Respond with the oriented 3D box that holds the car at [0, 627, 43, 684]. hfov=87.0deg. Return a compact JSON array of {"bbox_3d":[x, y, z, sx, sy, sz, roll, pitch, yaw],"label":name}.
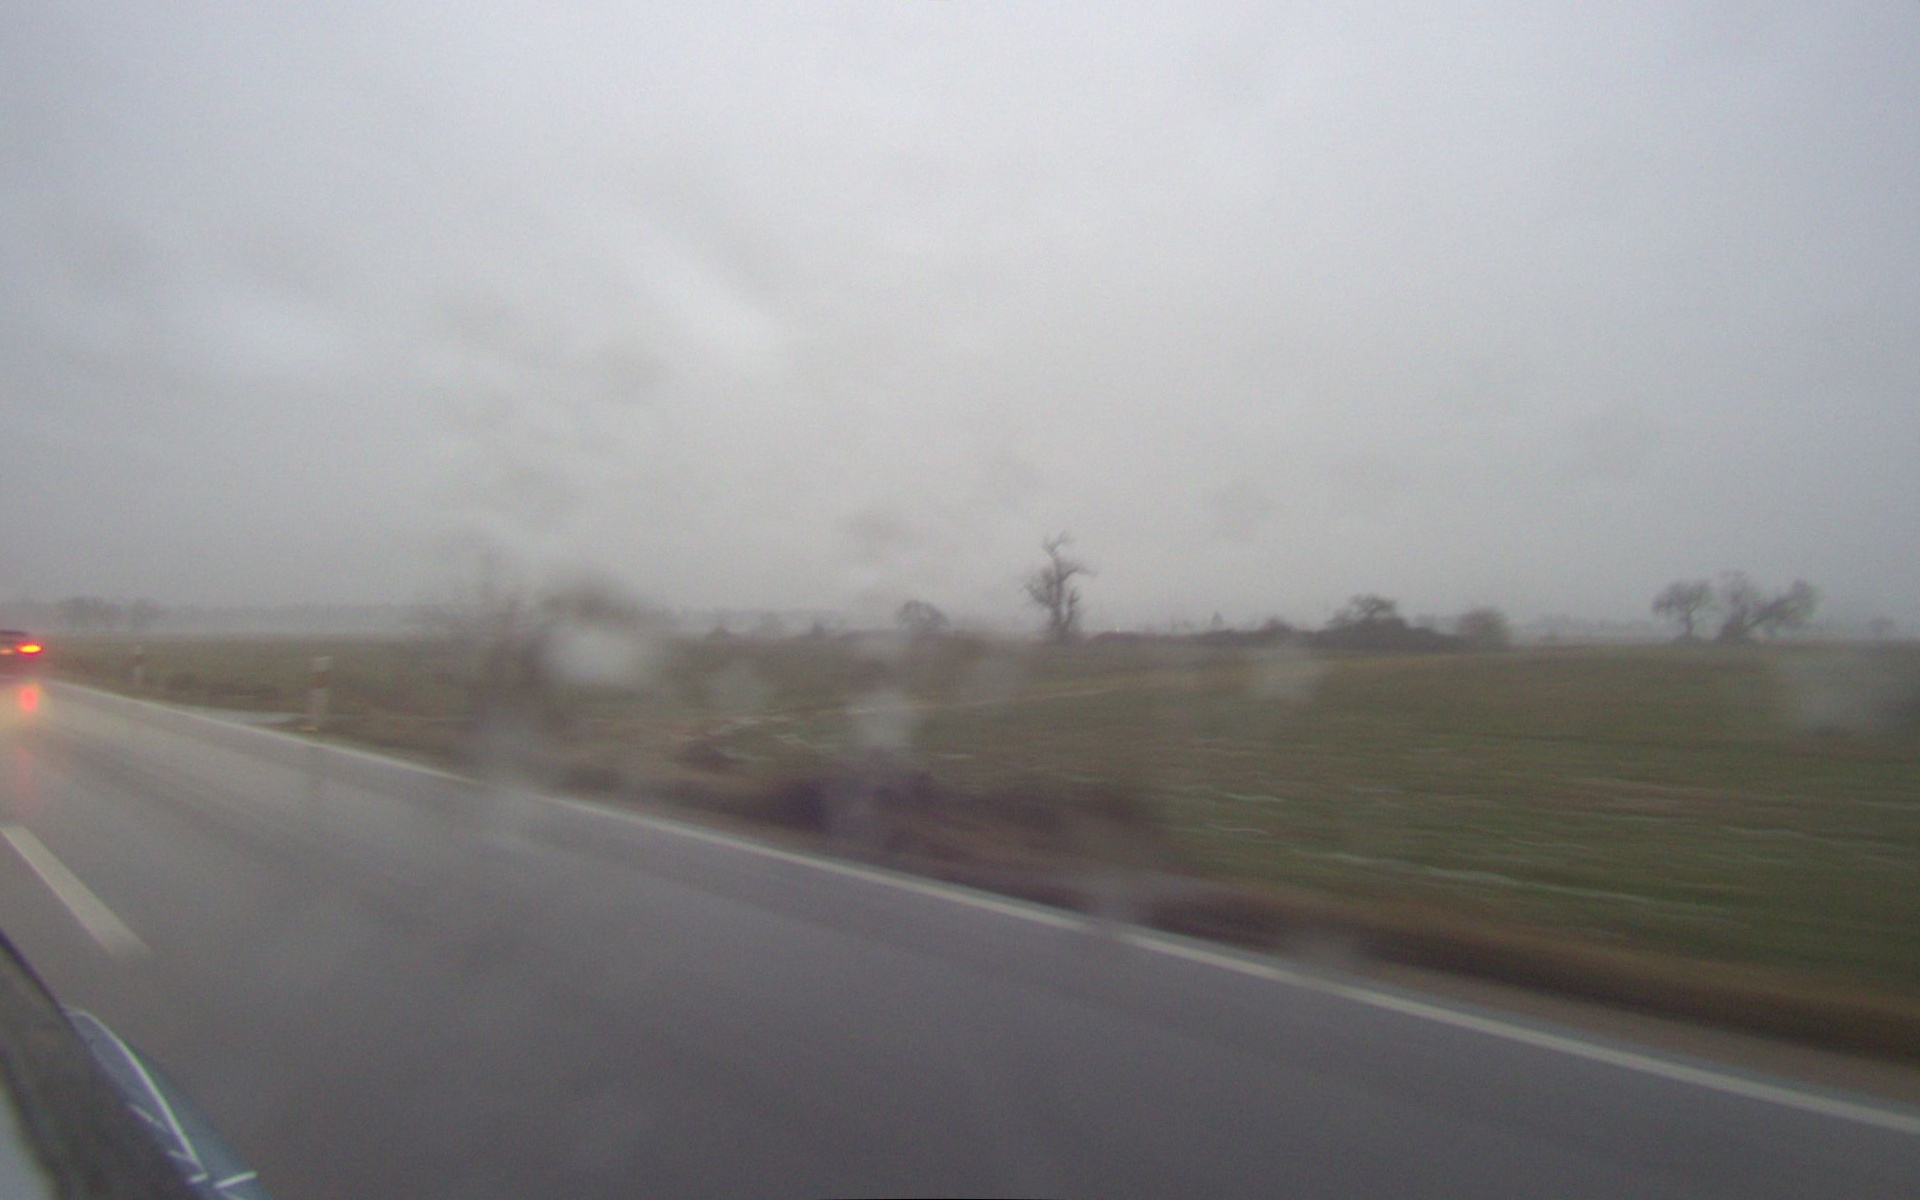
[{"bbox_3d":[-26.828,1.445,27.684,4.350,1.474,1.973,-1,-6,41],"label":"car"}]
